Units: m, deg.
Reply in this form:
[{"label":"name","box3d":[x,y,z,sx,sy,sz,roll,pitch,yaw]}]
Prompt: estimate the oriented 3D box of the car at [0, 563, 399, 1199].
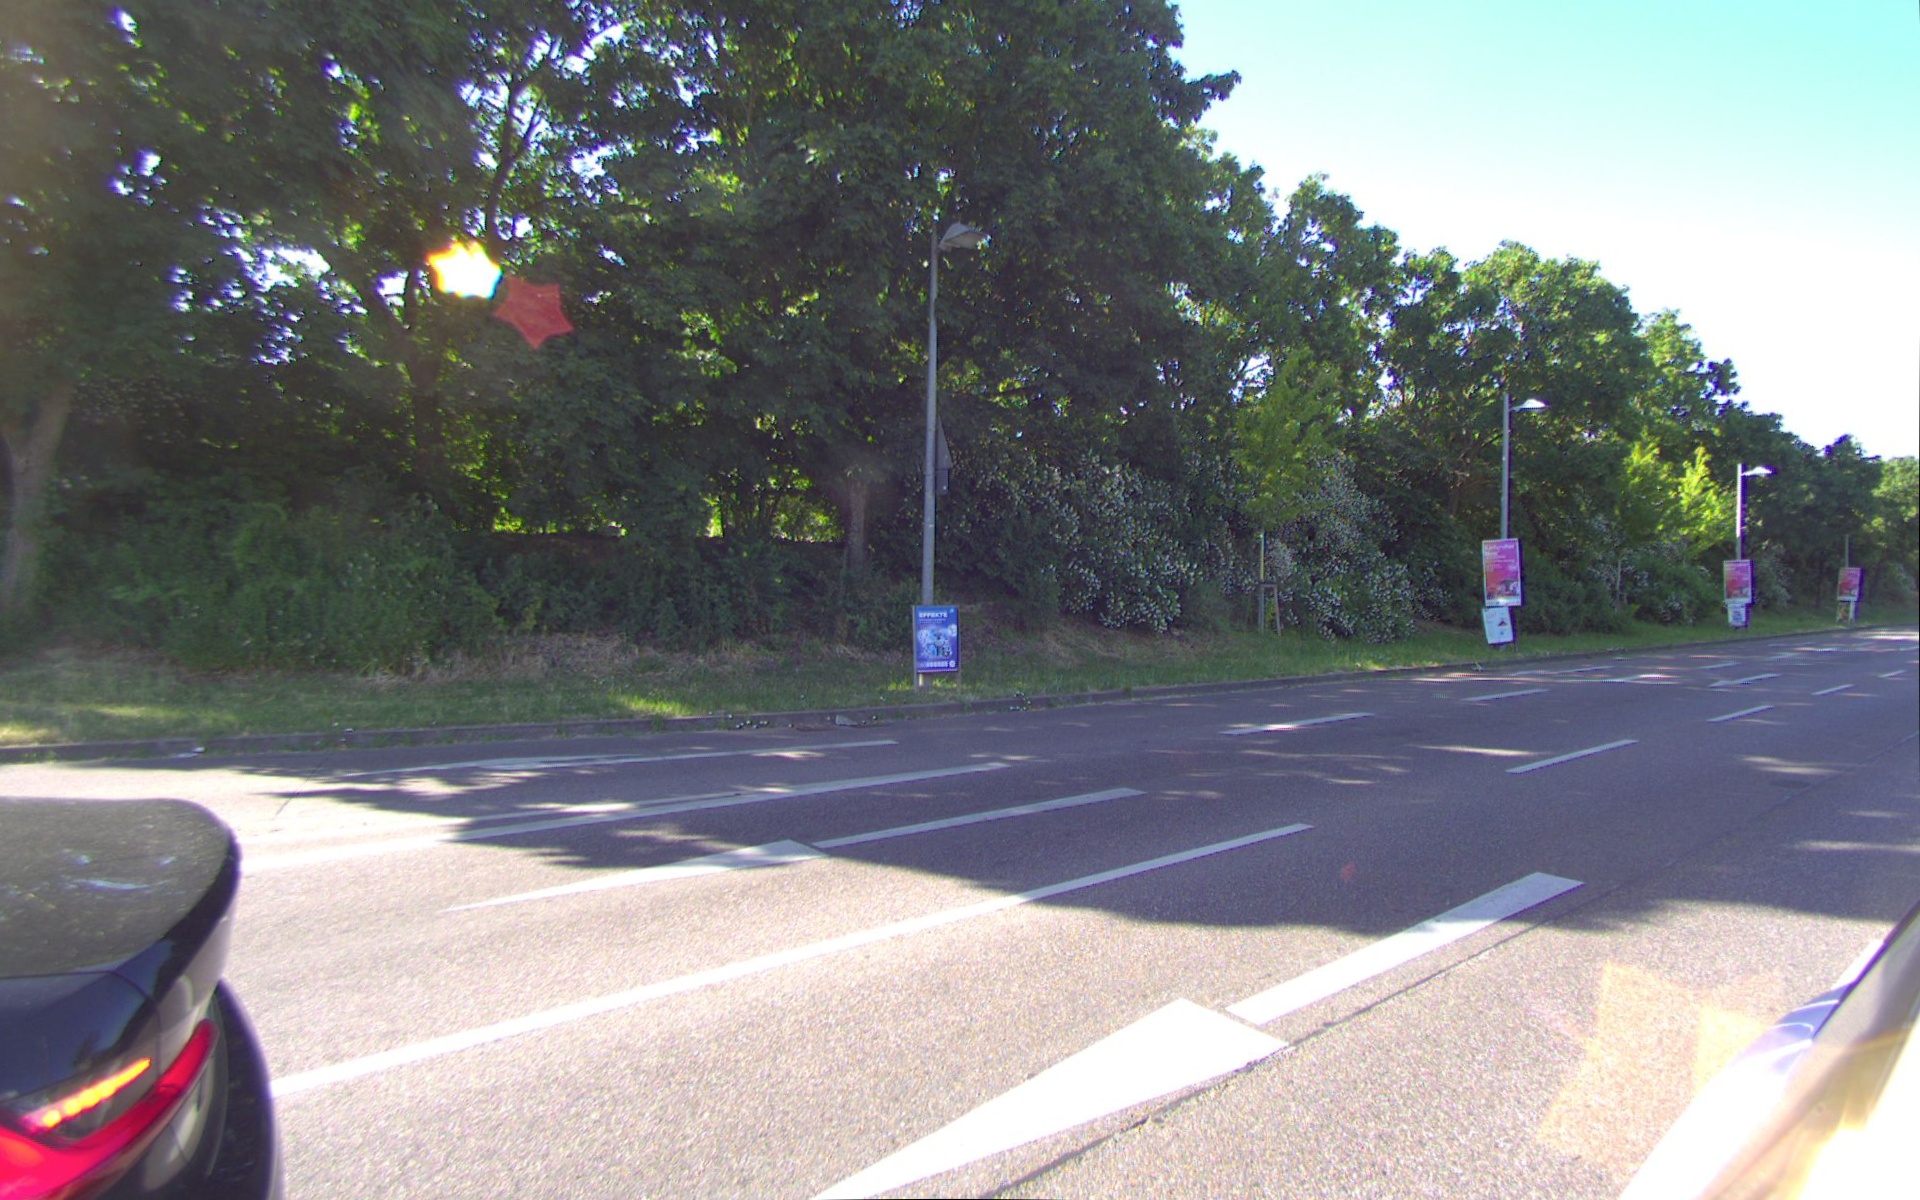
[{"label":"car","box3d":[-2.886,0.656,0.444,4.364,1.415,1.874,0,1,-40]}]
